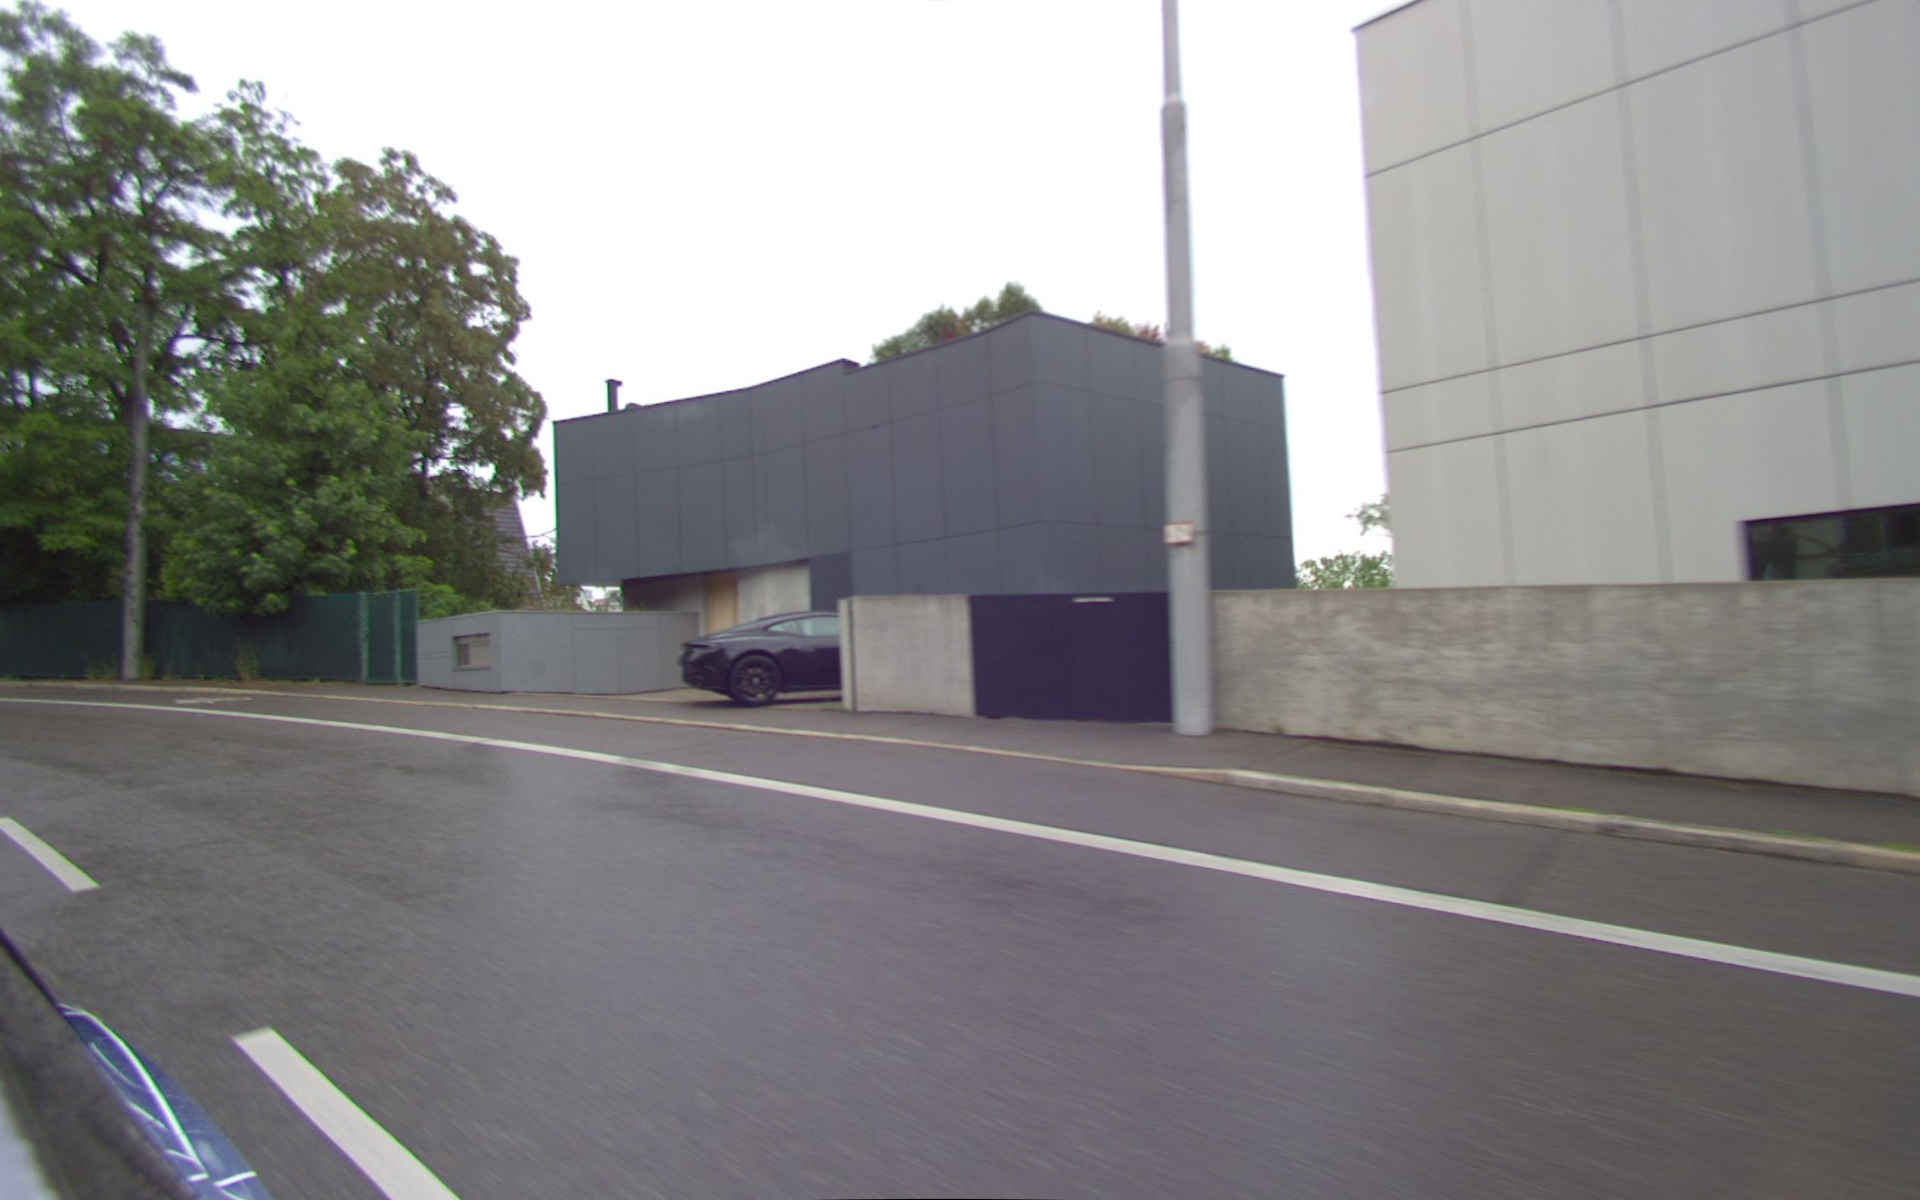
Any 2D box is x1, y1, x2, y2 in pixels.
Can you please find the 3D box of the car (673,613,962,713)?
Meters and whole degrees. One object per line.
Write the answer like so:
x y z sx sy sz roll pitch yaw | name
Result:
-2.126 0.871 14.771 3.932 1.311 1.903 0 -2 -15 | car
